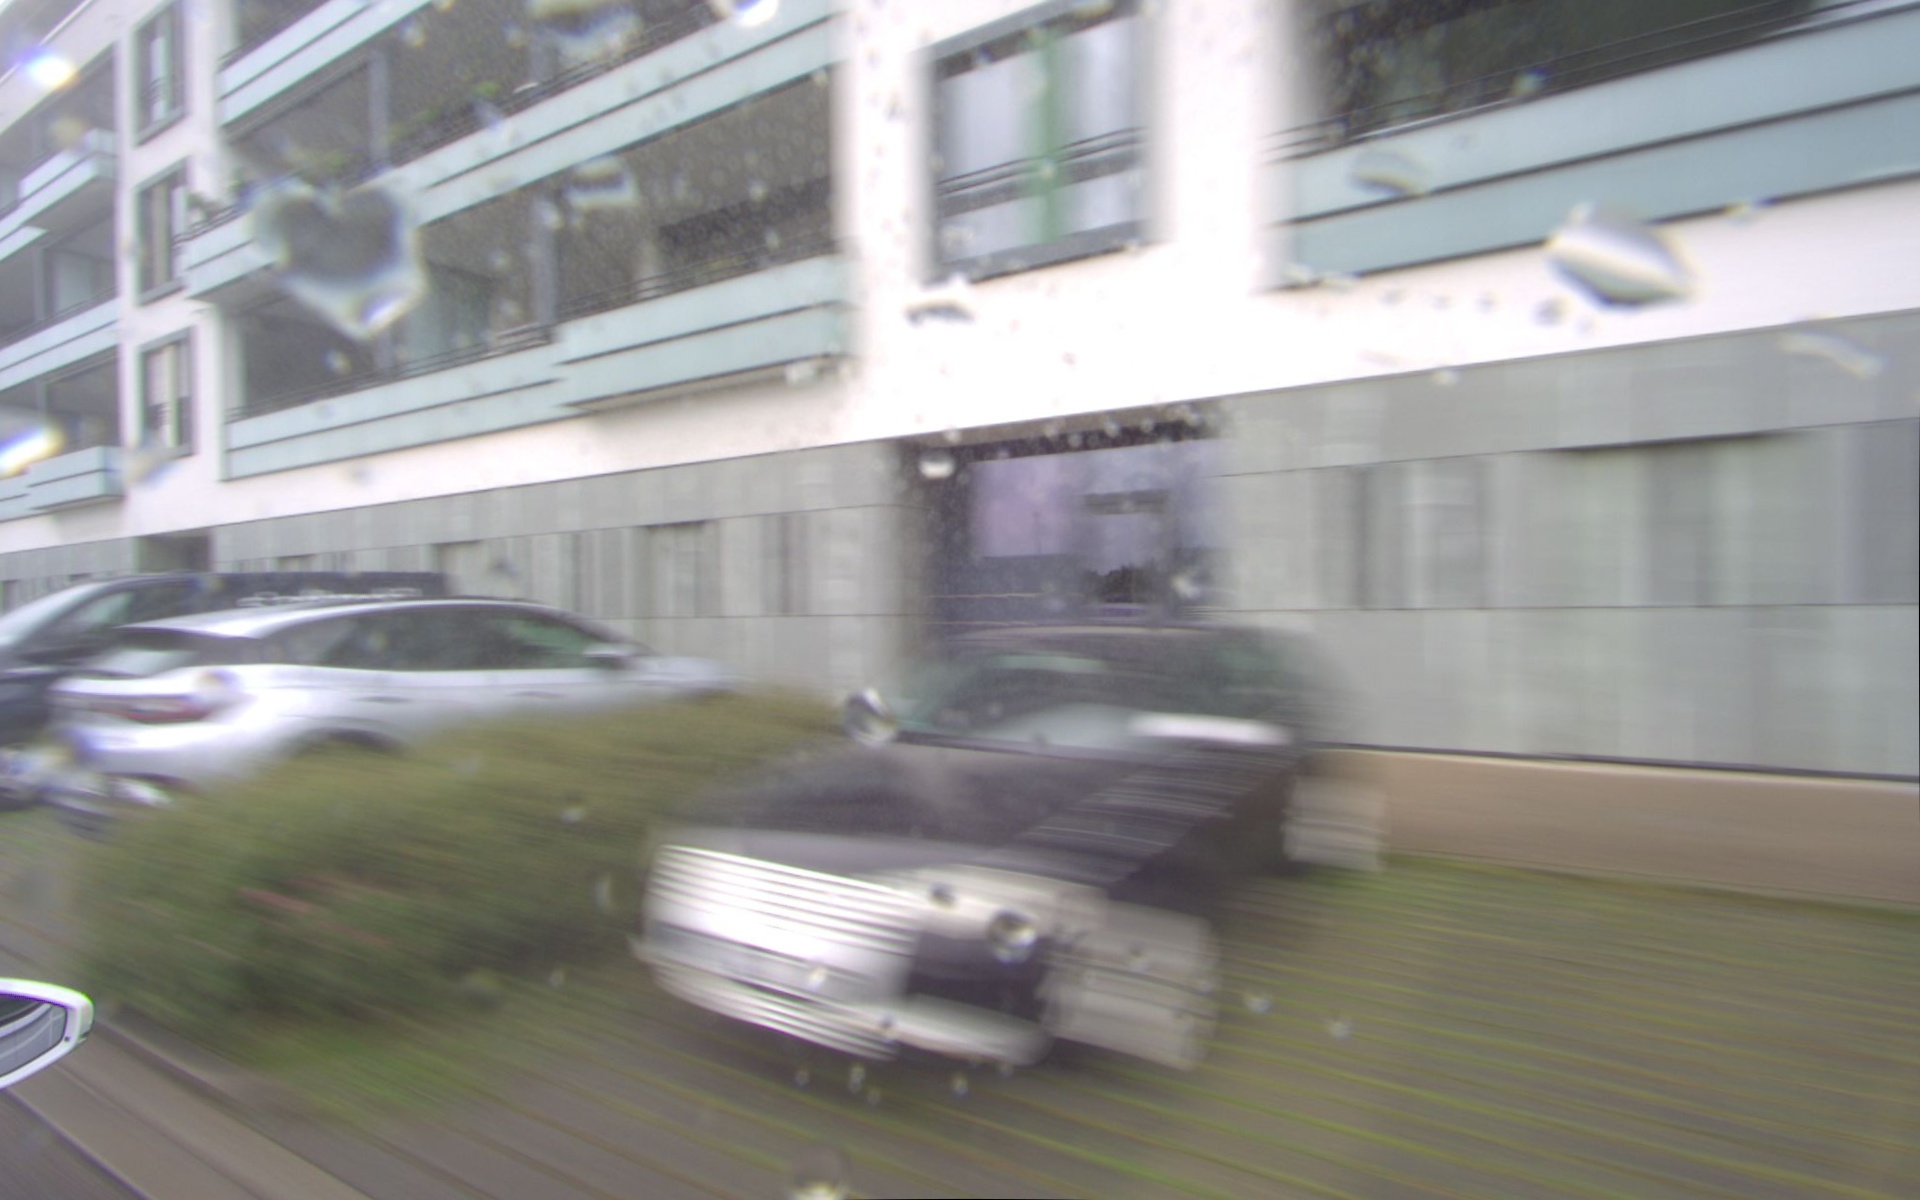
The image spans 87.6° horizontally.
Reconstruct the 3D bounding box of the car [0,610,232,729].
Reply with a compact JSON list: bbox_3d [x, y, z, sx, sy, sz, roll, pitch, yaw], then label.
[{"bbox_3d":[-13.364,0.994,14.528,1.724,1.503,4.170,-2,1,29],"label":"car"}]

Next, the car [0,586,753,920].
[{"bbox_3d":[-3.921,0.767,7.444,2.056,1.623,4.402,-1,1,37],"label":"car"}]

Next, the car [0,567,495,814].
[{"bbox_3d":[-7.539,0.686,9.904,1.953,1.955,5.038,-1,1,32],"label":"car"}]

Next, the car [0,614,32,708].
[{"bbox_3d":[-18.488,1.108,16.637,1.662,1.665,4.200,-2,-1,31],"label":"car"}]

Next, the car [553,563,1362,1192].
[{"bbox_3d":[0.438,0.707,4.609,1.754,1.552,3.975,-1,-1,35],"label":"car"}]
